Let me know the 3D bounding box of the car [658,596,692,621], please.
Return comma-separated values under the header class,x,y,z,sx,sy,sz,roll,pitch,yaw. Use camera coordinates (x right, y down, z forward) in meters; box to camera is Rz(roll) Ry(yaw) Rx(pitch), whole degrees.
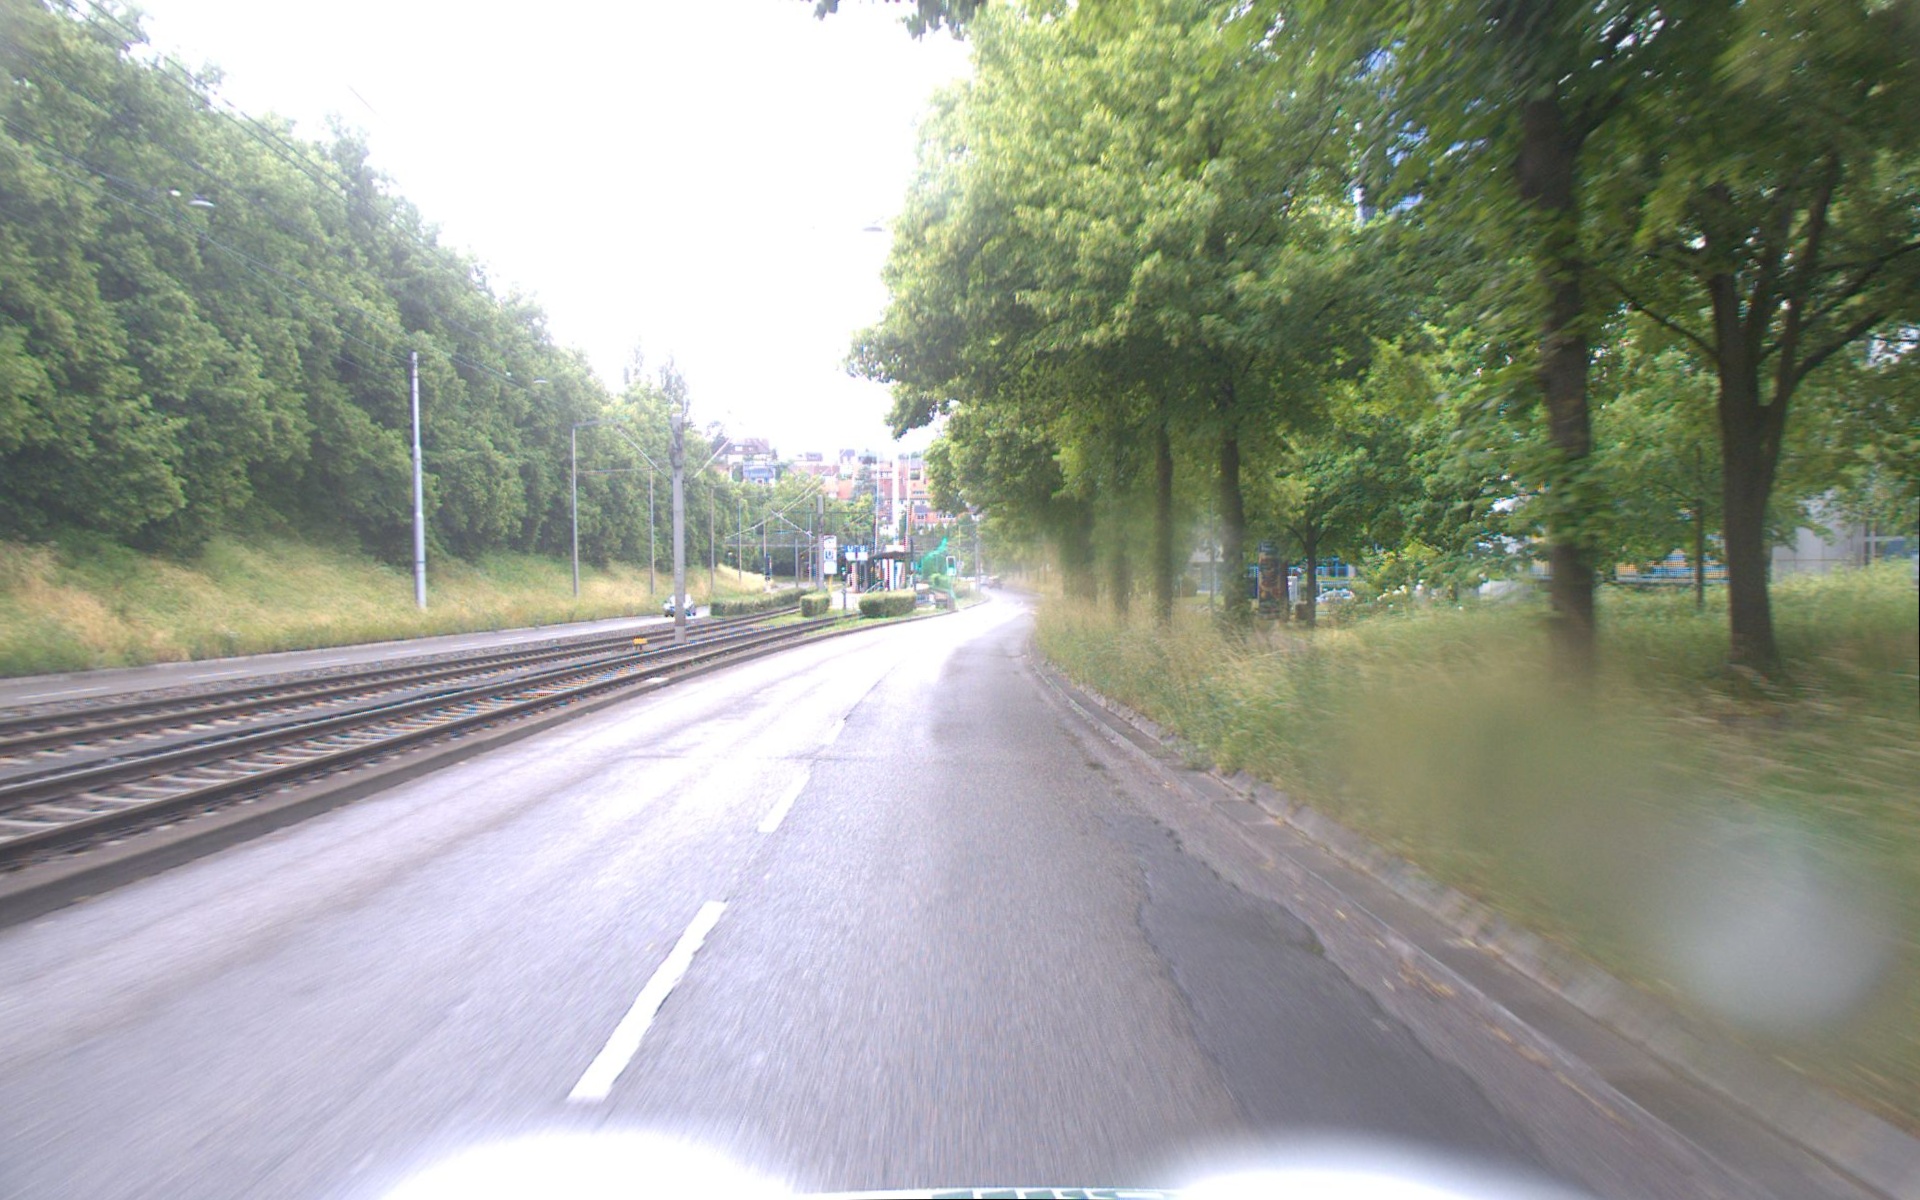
class,x,y,z,sx,sy,sz,roll,pitch,yaw
car,-19.544,0.579,113.528,1.749,1.579,3.958,-2,0,-3
